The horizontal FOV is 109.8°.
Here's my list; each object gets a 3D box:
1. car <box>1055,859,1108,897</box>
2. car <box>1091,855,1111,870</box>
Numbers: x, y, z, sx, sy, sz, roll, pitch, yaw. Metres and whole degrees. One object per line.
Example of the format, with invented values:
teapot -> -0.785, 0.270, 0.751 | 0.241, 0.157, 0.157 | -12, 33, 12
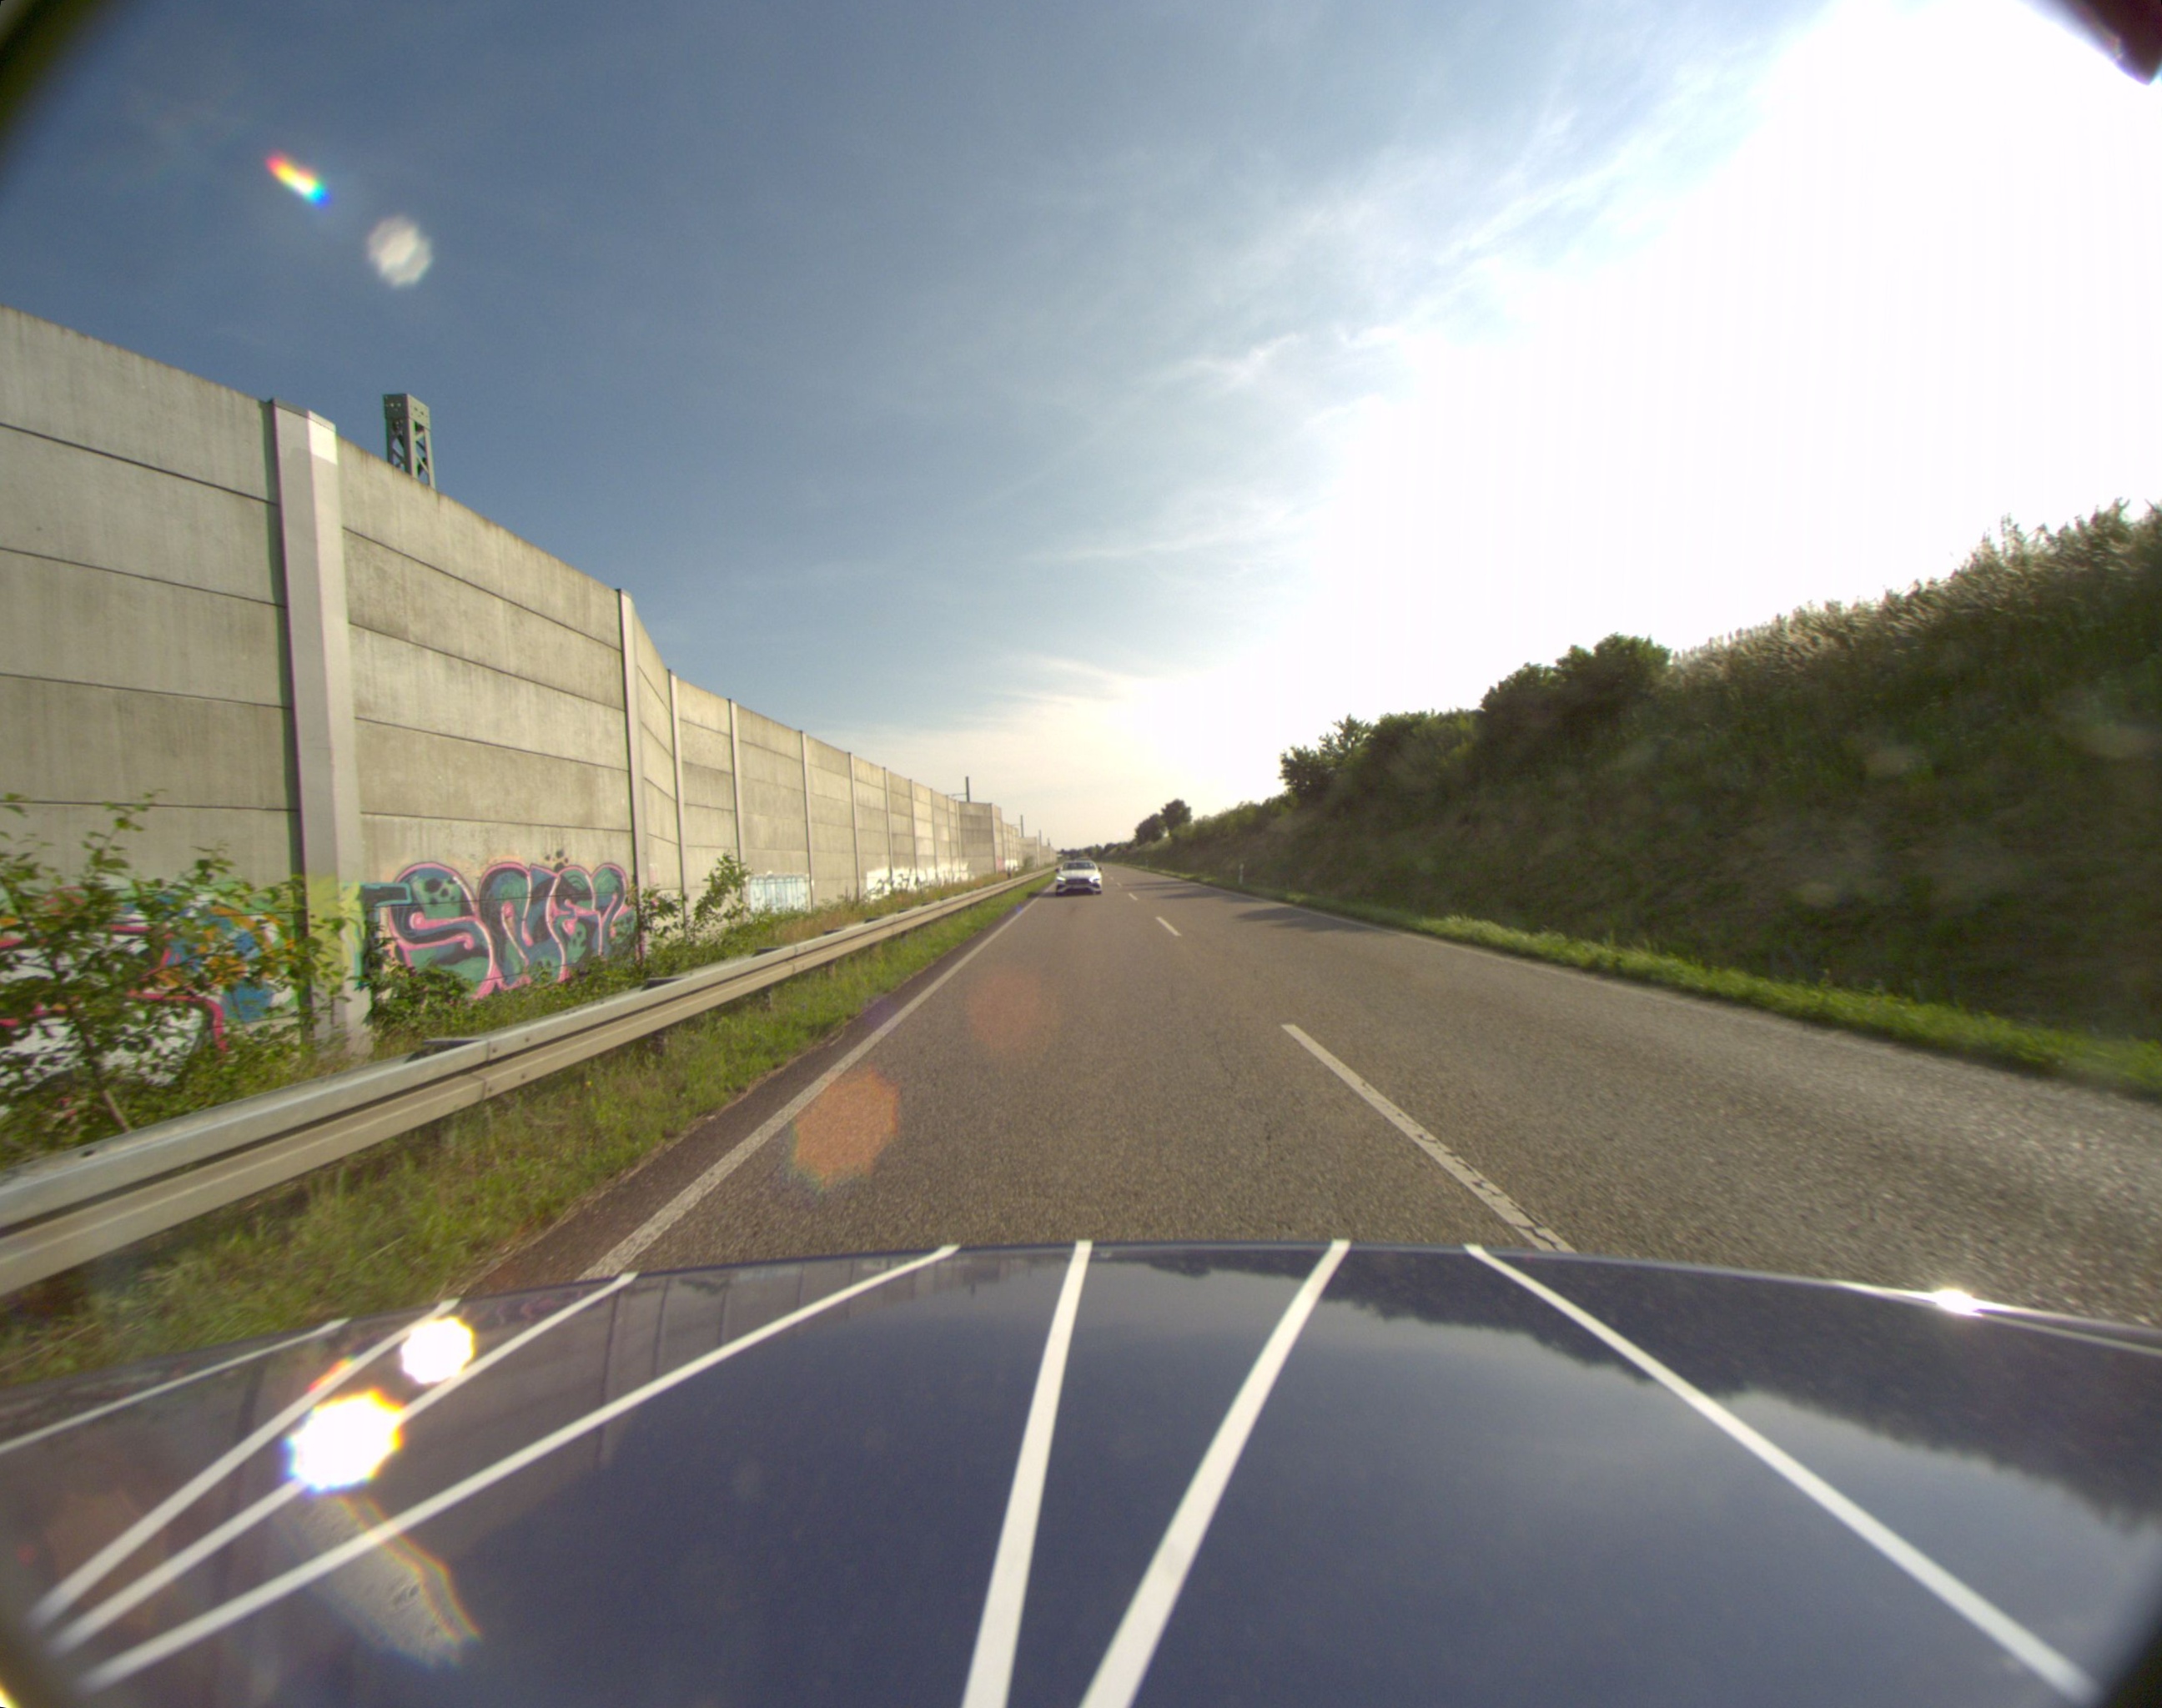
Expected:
car -> -0.049, 0.940, 32.359 | 1.930, 1.399, 4.972 | -2, 0, -3
car -> 2.066, 0.842, 79.313 | 1.930, 1.399, 4.974 | -1, 0, 0
